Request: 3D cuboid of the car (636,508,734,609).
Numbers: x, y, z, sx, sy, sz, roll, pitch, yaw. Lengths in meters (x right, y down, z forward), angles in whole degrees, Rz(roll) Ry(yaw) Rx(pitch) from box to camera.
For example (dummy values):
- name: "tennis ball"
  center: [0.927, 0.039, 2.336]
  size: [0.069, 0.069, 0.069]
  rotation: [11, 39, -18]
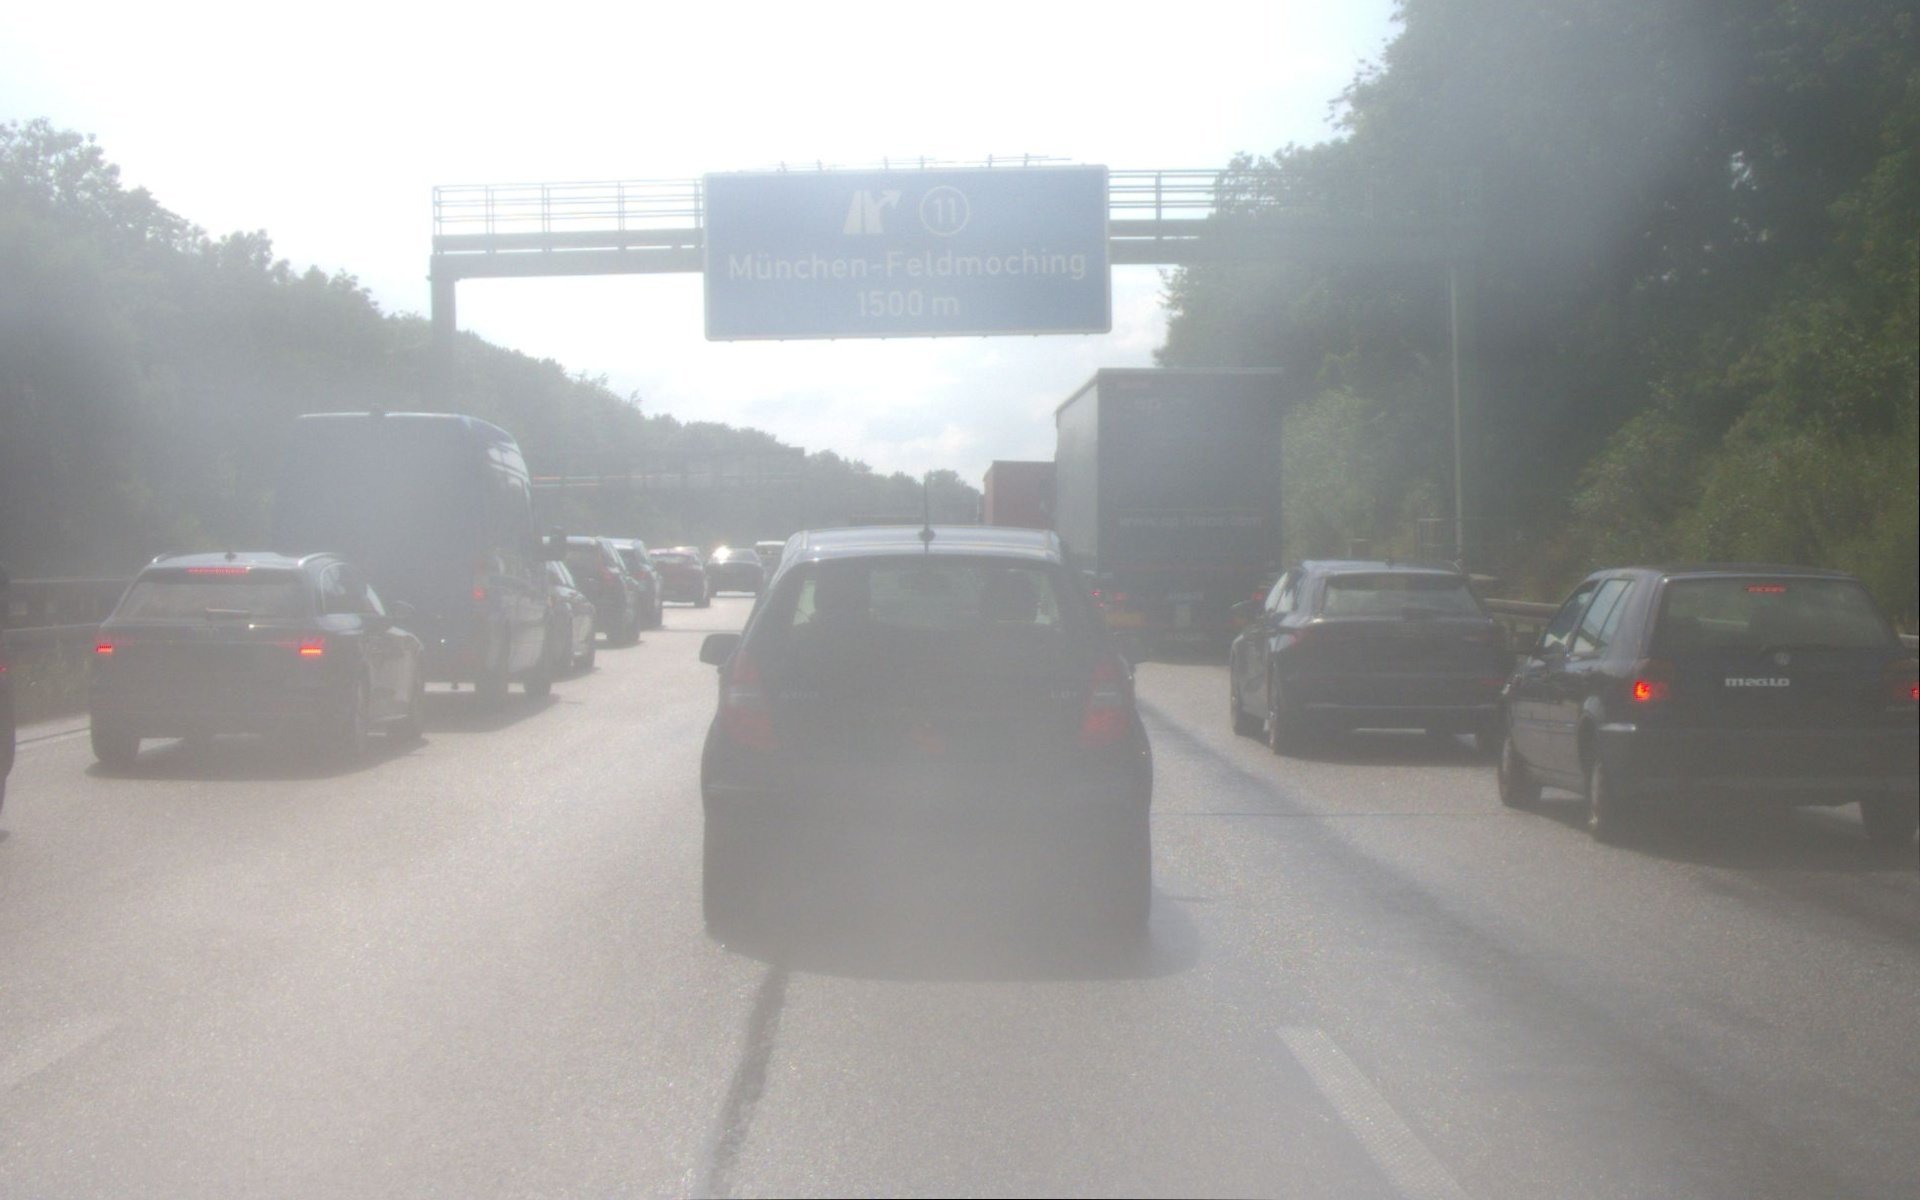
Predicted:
- name: "car"
  center: [-6.761, -1.014, 84.994]
  size: [1.993, 2.377, 5.260]
  rotation: [1, 0, 0]

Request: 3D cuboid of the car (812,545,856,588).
- name: "car"
  center: [-6.294, -1.691, 172.115]
  size: [1.993, 2.108, 4.889]
  rotation: [1, 0, 0]

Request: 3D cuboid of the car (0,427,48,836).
- name: "car"
  center: [-5.783, 0.161, 15.714]
  size: [1.978, 2.047, 4.756]
  rotation: [1, 0, 0]

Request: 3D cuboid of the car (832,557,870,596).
- name: "car"
  center: [-6.039, -1.284, 190.828]
  size: [1.993, 2.108, 4.889]
  rotation: [1, 0, 0]

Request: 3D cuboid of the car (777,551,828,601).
- name: "car"
  center: [-6.860, -1.057, 149.970]
  size: [1.993, 2.108, 4.889]
  rotation: [1, 0, 0]

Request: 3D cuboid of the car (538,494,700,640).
- name: "car"
  center: [-5.153, -0.503, 52.499]
  size: [1.993, 2.108, 4.889]
  rotation: [1, 0, 0]

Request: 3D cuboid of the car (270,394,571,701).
- name: "car"
  center: [-4.927, -0.476, 32.130]
  size: [1.993, 2.606, 5.260]
  rotation: [1, 0, 0]

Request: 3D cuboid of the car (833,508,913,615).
- name: "car"
  center: [-2.280, -1.012, 91.189]
  size: [1.993, 2.737, 5.260]
  rotation: [1, 0, 0]

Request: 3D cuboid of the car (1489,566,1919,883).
- name: "car"
  center: [3.956, 0.584, 18.586]
  size: [1.591, 1.511, 3.976]
  rotation: [1, 0, 0]

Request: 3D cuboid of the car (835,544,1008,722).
- name: "car"
  center: [-0.465, 0.315, 37.080]
  size: [1.692, 1.798, 3.976]
  rotation: [1, 0, -3]

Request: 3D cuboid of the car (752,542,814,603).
- name: "car"
  center: [-6.353, -0.988, 123.547]
  size: [1.993, 2.108, 4.889]
  rotation: [1, 0, 0]

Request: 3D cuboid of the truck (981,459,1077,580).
- name: "truck"
  center: [2.094, -2.471, 107.077]
  size: [2.775, 3.619, 5.917]
  rotation: [1, 0, 0]

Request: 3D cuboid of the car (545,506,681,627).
- name: "car"
  center: [-6.291, -0.611, 62.783]
  size: [1.993, 2.108, 4.889]
  rotation: [1, 0, 0]

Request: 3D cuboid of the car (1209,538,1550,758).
- name: "car"
  center: [3.070, 0.315, 25.946]
  size: [1.864, 1.511, 3.976]
  rotation: [1, 0, -3]

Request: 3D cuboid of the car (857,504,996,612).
- name: "car"
  center: [-0.540, -0.615, 50.974]
  size: [1.864, 1.511, 3.976]
  rotation: [1, 0, -3]

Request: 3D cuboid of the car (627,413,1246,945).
- name: "car"
  center: [-0.185, 0.275, 15.181]
  size: [2.274, 1.948, 4.822]
  rotation: [1, 0, -2]

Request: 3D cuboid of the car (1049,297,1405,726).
- name: "car"
  center: [3.875, -1.290, 55.518]
  size: [4.404, 5.810, 16.818]
  rotation: [1, 0, 0]

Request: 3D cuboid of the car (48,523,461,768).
- name: "car"
  center: [-4.905, 0.272, 24.588]
  size: [1.993, 1.559, 4.756]
  rotation: [1, 0, 0]

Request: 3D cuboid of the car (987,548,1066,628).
- name: "car"
  center: [1.784, -0.341, 93.333]
  size: [1.993, 2.108, 4.889]
  rotation: [1, 0, 0]

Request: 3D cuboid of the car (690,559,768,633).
- name: "car"
  center: [-6.802, -0.142, 101.840]
  size: [1.993, 2.108, 4.889]
  rotation: [1, 0, 0]
